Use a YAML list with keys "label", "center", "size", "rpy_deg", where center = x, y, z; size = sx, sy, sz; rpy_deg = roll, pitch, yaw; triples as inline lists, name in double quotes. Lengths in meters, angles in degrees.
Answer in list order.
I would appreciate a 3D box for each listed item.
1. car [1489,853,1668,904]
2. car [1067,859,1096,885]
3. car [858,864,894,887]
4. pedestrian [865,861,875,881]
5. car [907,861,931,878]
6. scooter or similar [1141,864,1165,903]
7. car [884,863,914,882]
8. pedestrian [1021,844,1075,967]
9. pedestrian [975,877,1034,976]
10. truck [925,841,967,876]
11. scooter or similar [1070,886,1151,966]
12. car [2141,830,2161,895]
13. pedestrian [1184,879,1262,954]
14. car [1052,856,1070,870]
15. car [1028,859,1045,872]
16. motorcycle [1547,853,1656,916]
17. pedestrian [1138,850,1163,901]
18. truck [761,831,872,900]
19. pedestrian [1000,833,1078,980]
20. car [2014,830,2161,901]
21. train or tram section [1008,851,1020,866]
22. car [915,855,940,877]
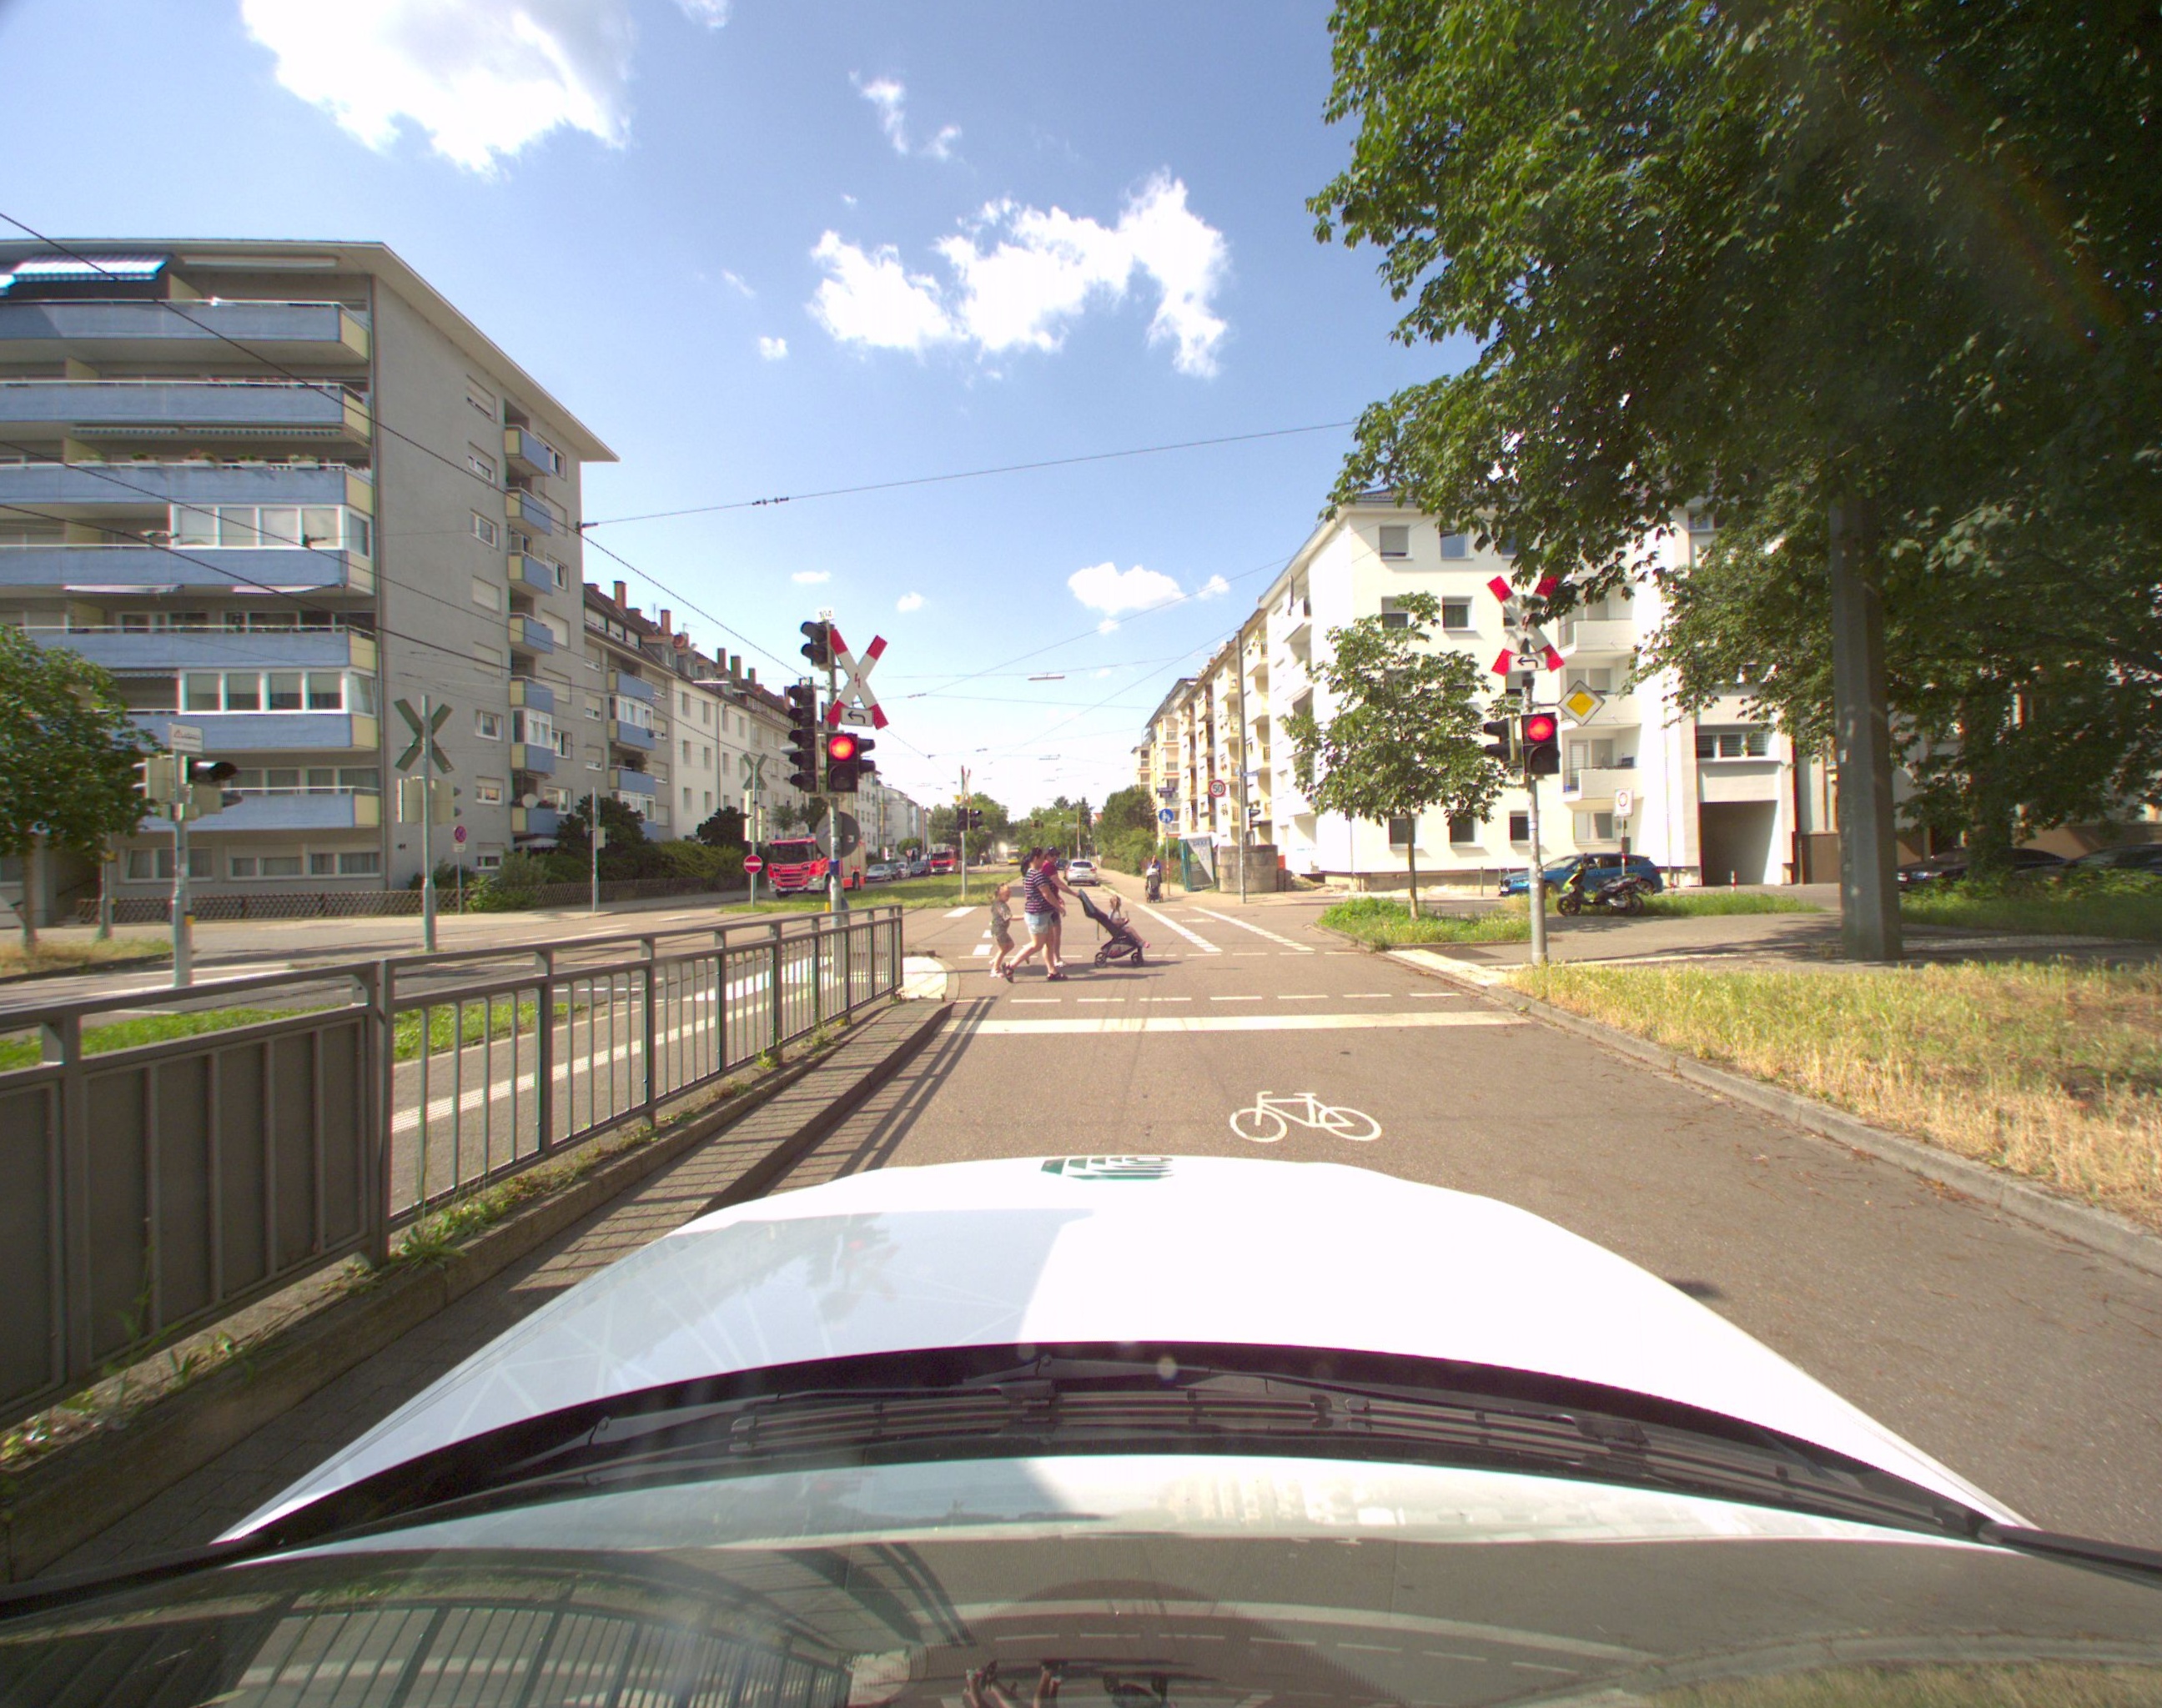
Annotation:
- label: "car"
  center: [14.458, 0.704, 23.819]
  size: [4.151, 1.413, 1.781]
  rpy_deg: [0, -1, 1]
- label: "car"
  center: [0.018, 1.039, 48.421]
  size: [1.617, 1.465, 3.509]
  rpy_deg: [0, -1, -1]
- label: "car"
  center: [-16.330, 1.682, 65.021]
  size: [1.989, 1.711, 3.996]
  rpy_deg: [0, -1, -3]
- label: "pedestrian"
  center: [-19.225, 1.510, 74.256]
  size: [0.704, 1.794, 0.863]
  rpy_deg: [-2, 0, -5]
- label: "car"
  center: [-17.051, 1.595, 85.797]
  size: [1.905, 1.711, 3.996]
  rpy_deg: [0, -1, -3]
- label: "scooter or similar"
  center: [2.544, 1.035, 28.891]
  size: [0.660, 1.303, 0.868]
  rpy_deg: [-5, 0, -1]
- label: "car"
  center: [-16.888, 1.677, 75.905]
  size: [1.988, 1.711, 3.997]
  rpy_deg: [0, -1, -2]
- label: "pedestrian"
  center: [-0.458, 0.693, 11.260]
  size: [0.704, 1.648, 0.636]
  rpy_deg: [1, -1, -3]
- label: "pedestrian"
  center: [-0.965, 0.909, 10.457]
  size: [0.634, 1.180, 0.799]
  rpy_deg: [-2, -1, 1]
- label: "truck"
  center: [-14.209, 0.539, 86.729]
  size: [2.657, 3.471, 10.168]
  rpy_deg: [0, -1, 1]
- label: "scooter or similar"
  center: [0.391, 0.976, 11.273]
  size: [1.097, 1.056, 0.650]
  rpy_deg: [0, -1, -2]
- label: "car"
  center: [26.028, 0.181, 17.467]
  size: [1.794, 1.539, 4.013]
  rpy_deg: [-2, 0, 11]
- label: "pedestrian"
  center: [4.251, 1.829, 25.020]
  size: [1.984, 2.014, 4.004]
  rpy_deg: [0, -1, 4]
- label: "car"
  center: [-2.189, 0.943, 89.985]
  size: [1.738, 1.507, 4.000]
  rpy_deg: [0, -1, 1]
- label: "car"
  center: [-5.096, 1.329, 93.217]
  size: [1.739, 1.507, 3.997]
  rpy_deg: [0, -1, -1]
- label: "motorcycle"
  center: [11.039, 0.651, 17.338]
  size: [0.574, 1.215, 1.829]
  rpy_deg: [-6, 1, -30]
- label: "pedestrian"
  center: [2.548, 0.764, 29.762]
  size: [0.699, 1.789, 1.030]
  rpy_deg: [-4, 0, 0]
- label: "truck"
  center: [-13.346, 0.594, 41.936]
  size: [2.586, 3.186, 8.387]
  rpy_deg: [0, -1, 3]
- label: "pedestrian"
  center: [-0.507, 0.606, 9.772]
  size: [0.844, 1.667, 0.797]
  rpy_deg: [-2, -1, -4]
- label: "car"
  center: [23.222, 0.217, 17.512]
  size: [1.733, 1.459, 4.001]
  rpy_deg: [-2, 0, 1]
- label: "train or tram section"
  center: [-14.110, 0.897, 172.601]
  size: [2.254, 3.069, 8.122]
  rpy_deg: [-2, 0, -4]
- label: "car"
  center: [-17.305, 1.347, 91.890]
  size: [1.963, 2.370, 5.197]
  rpy_deg: [0, -1, -2]
